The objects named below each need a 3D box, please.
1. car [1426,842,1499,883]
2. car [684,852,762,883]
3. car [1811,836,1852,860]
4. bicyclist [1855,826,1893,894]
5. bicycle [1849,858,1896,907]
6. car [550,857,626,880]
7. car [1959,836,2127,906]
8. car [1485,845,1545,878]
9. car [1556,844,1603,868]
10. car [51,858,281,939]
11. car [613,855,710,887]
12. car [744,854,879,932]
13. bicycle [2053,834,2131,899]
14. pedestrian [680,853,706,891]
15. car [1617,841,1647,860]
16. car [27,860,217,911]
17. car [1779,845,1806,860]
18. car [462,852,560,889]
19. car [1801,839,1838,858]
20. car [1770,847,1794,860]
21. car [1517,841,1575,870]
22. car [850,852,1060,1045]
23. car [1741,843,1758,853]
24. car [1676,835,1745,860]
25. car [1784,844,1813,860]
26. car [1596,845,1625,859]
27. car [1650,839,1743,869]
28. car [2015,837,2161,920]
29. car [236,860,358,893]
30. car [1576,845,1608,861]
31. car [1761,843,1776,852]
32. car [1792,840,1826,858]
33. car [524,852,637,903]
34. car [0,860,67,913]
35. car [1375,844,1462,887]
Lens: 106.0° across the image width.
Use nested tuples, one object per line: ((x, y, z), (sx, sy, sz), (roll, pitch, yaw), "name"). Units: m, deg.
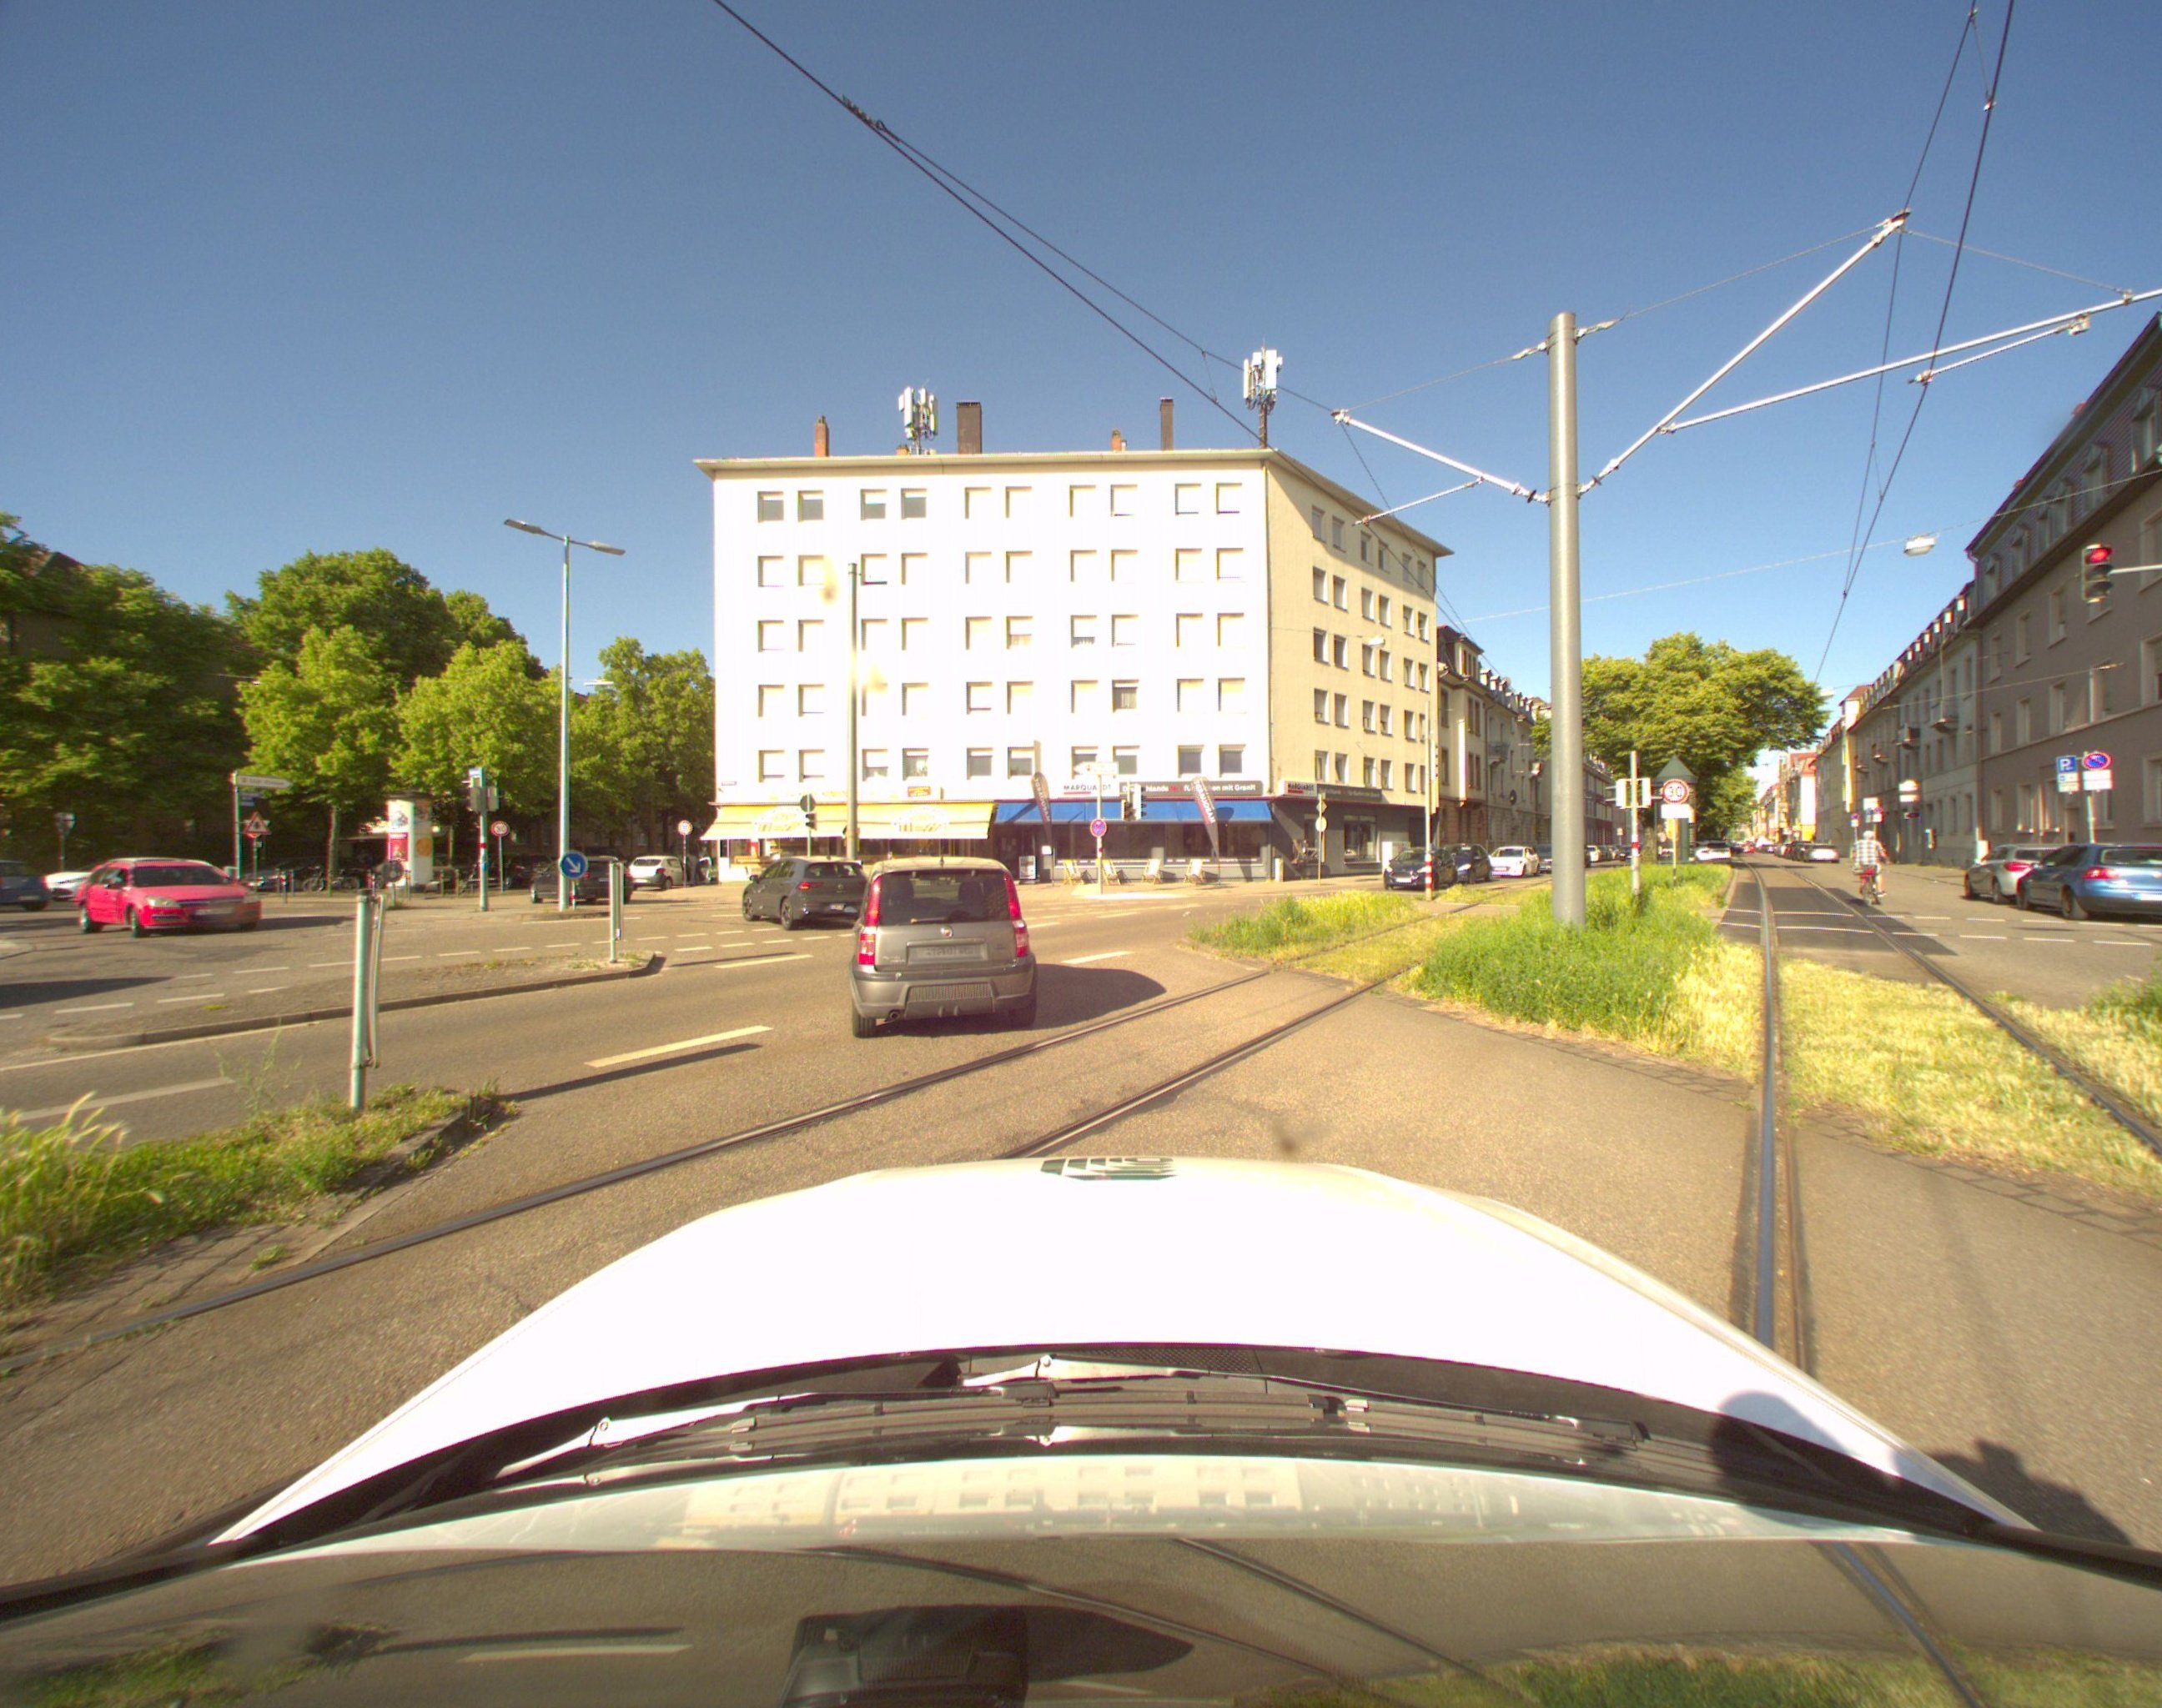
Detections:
((15.397, 0.305, 32.773), (1.773, 1.565, 3.790), (0, 0, 40), "car")
((-18.454, 0.649, 42.175), (1.926, 1.512, 3.946), (0, 0, 6), "car")
((55.477, -0.417, 60.243), (1.974, 1.618, 4.025), (0, -1, 40), "car")
((18.456, 0.130, 18.943), (0.828, 1.559, 0.555), (-1, 0, -41), "bicyclist")
((18.290, 0.633, 18.810), (1.867, 1.032, 0.582), (-1, 0, -40), "bicycle")
((-28.323, 0.815, 46.802), (3.463, 1.190, 1.647), (-1, 0, -44), "car")
((22.926, 0.335, 19.592), (1.802, 1.508, 4.026), (-1, 1, 38), "car")
((20.371, 0.331, 38.176), (1.773, 1.483, 3.554), (0, 0, 40), "car")
((32.393, 0.081, 52.847), (1.974, 1.487, 4.025), (0, 0, 41), "car")
((-19.283, 0.858, 17.160), (4.489, 1.488, 1.765), (0, 2, 22), "car")
((-18.635, 0.708, 36.400), (1.984, 1.310, 4.005), (0, 0, 5), "car")
((-5.767, 0.725, 17.165), (1.634, 1.429, 3.647), (-1, 0, -37), "car")
((24.987, 0.287, 20.181), (0.567, 1.511, 2.825), (0, 0, 38), "bicycle")
((-17.099, 0.771, 35.914), (0.791, 1.621, 0.827), (-1, 0, -8), "pedestrian")
((50.087, -0.320, 74.053), (1.974, 1.750, 4.025), (0, 0, 38), "car")
((-35.101, 1.093, 30.006), (1.750, 1.617, 4.236), (0, 1, 8), "car")
((75.160, -0.173, 86.116), (1.916, 1.468, 4.026), (1, 1, 38), "car")
((-26.153, 0.723, 37.447), (3.287, 1.602, 1.669), (-1, 0, -2), "car")
((59.326, -0.492, 65.462), (1.916, 1.468, 4.026), (1, 1, 38), "car")
((82.027, -0.090, 95.276), (1.916, 1.468, 4.026), (1, 1, 38), "car")
((24.811, 0.062, 43.397), (1.974, 1.473, 4.025), (0, 0, 41), "car")
((-1.445, 0.742, 8.259), (1.664, 1.510, 3.233), (-1, 0, -17), "car")
((101.726, -0.945, 123.947), (1.791, 1.468, 4.026), (0, 1, 38), "car")
((46.807, -0.477, 60.595), (1.850, 1.785, 3.776), (-1, 0, -38), "car")
((71.231, -0.234, 80.910), (1.916, 1.468, 4.026), (1, 1, 38), "car")
((53.927, -0.225, 82.966), (1.974, 1.347, 4.025), (0, 0, 40), "car")
((34.181, -0.033, 45.370), (1.903, 1.594, 3.989), (-1, 0, -8), "car")
((19.862, 0.401, 15.675), (1.758, 1.442, 3.642), (1, 1, 37), "car")
((-34.507, 0.975, 35.999), (1.586, 1.293, 3.708), (-1, 1, 5), "car")
((44.227, -0.112, 70.458), (1.974, 1.395, 4.025), (0, 0, 38), "car")
((105.327, -0.998, 124.718), (1.660, 1.366, 3.719), (0, 0, 41), "car")
((62.368, -0.426, 69.805), (1.916, 1.468, 4.026), (1, 1, 38), "car")
((-15.805, 0.680, 25.633), (4.238, 1.486, 1.777), (0, 0, 40), "car")
((-31.016, 0.898, 22.644), (3.378, 1.438, 1.649), (0, 0, -4), "car")
((11.719, 0.351, 28.158), (1.773, 1.395, 3.748), (0, 0, 40), "car")
